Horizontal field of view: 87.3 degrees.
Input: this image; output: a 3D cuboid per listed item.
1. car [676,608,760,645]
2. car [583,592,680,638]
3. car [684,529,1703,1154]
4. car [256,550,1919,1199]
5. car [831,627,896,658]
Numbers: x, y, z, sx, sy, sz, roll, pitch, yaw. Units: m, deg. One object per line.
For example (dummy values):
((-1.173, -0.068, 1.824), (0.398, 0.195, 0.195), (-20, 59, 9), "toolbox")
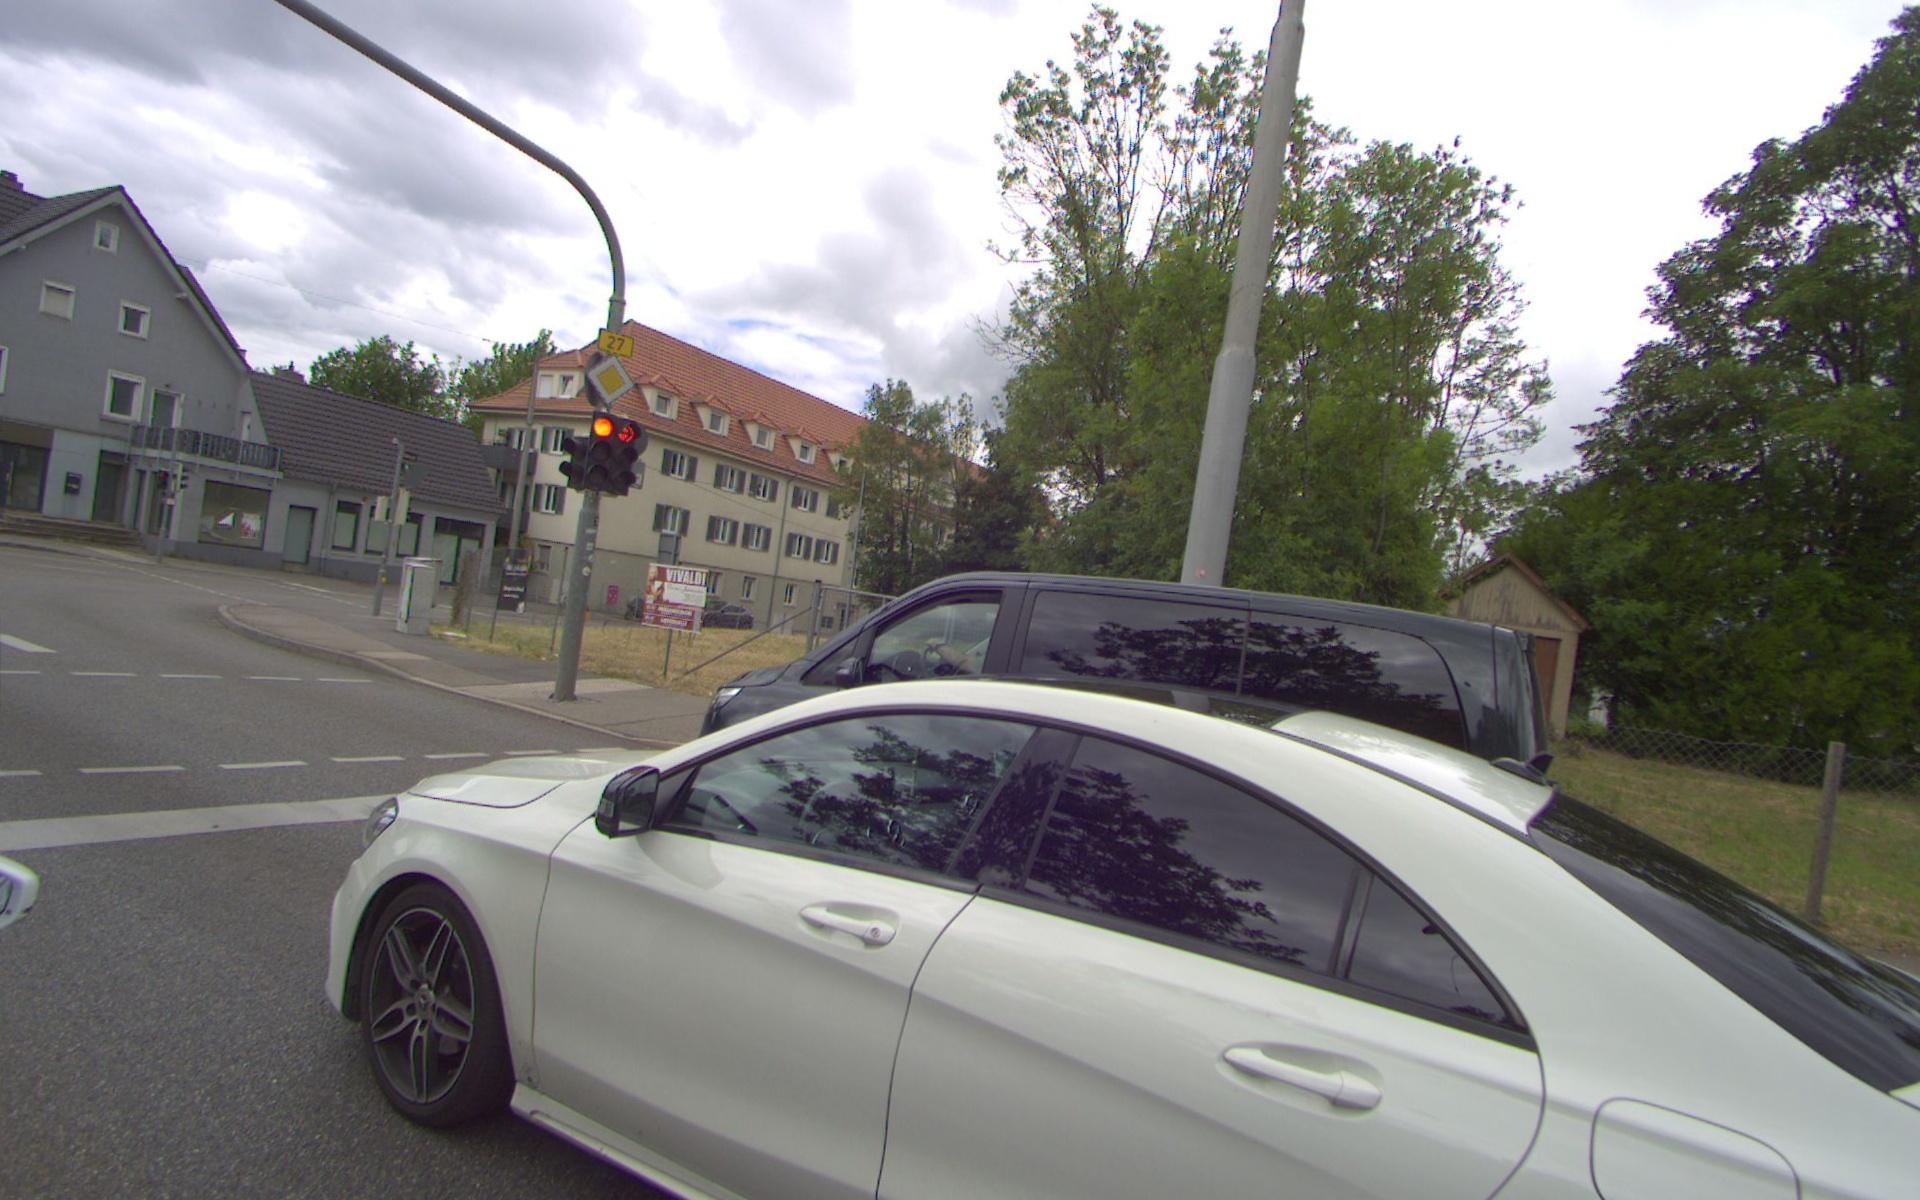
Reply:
((-12.626, 1.400, 52.651), (1.839, 1.393, 3.996), (7, -2, 32), "car")
((-15.521, 0.738, 47.662), (1.839, 1.554, 3.996), (7, -2, 32), "car")
((0.964, 0.843, 5.494), (4.631, 1.860, 1.953), (7, -2, 32), "car")
((0.162, 0.846, 2.644), (4.305, 1.451, 1.651), (7, 0, 32), "car")
((-5.830, 2.587, 61.137), (1.838, 1.393, 3.998), (7, -2, 29), "car")
